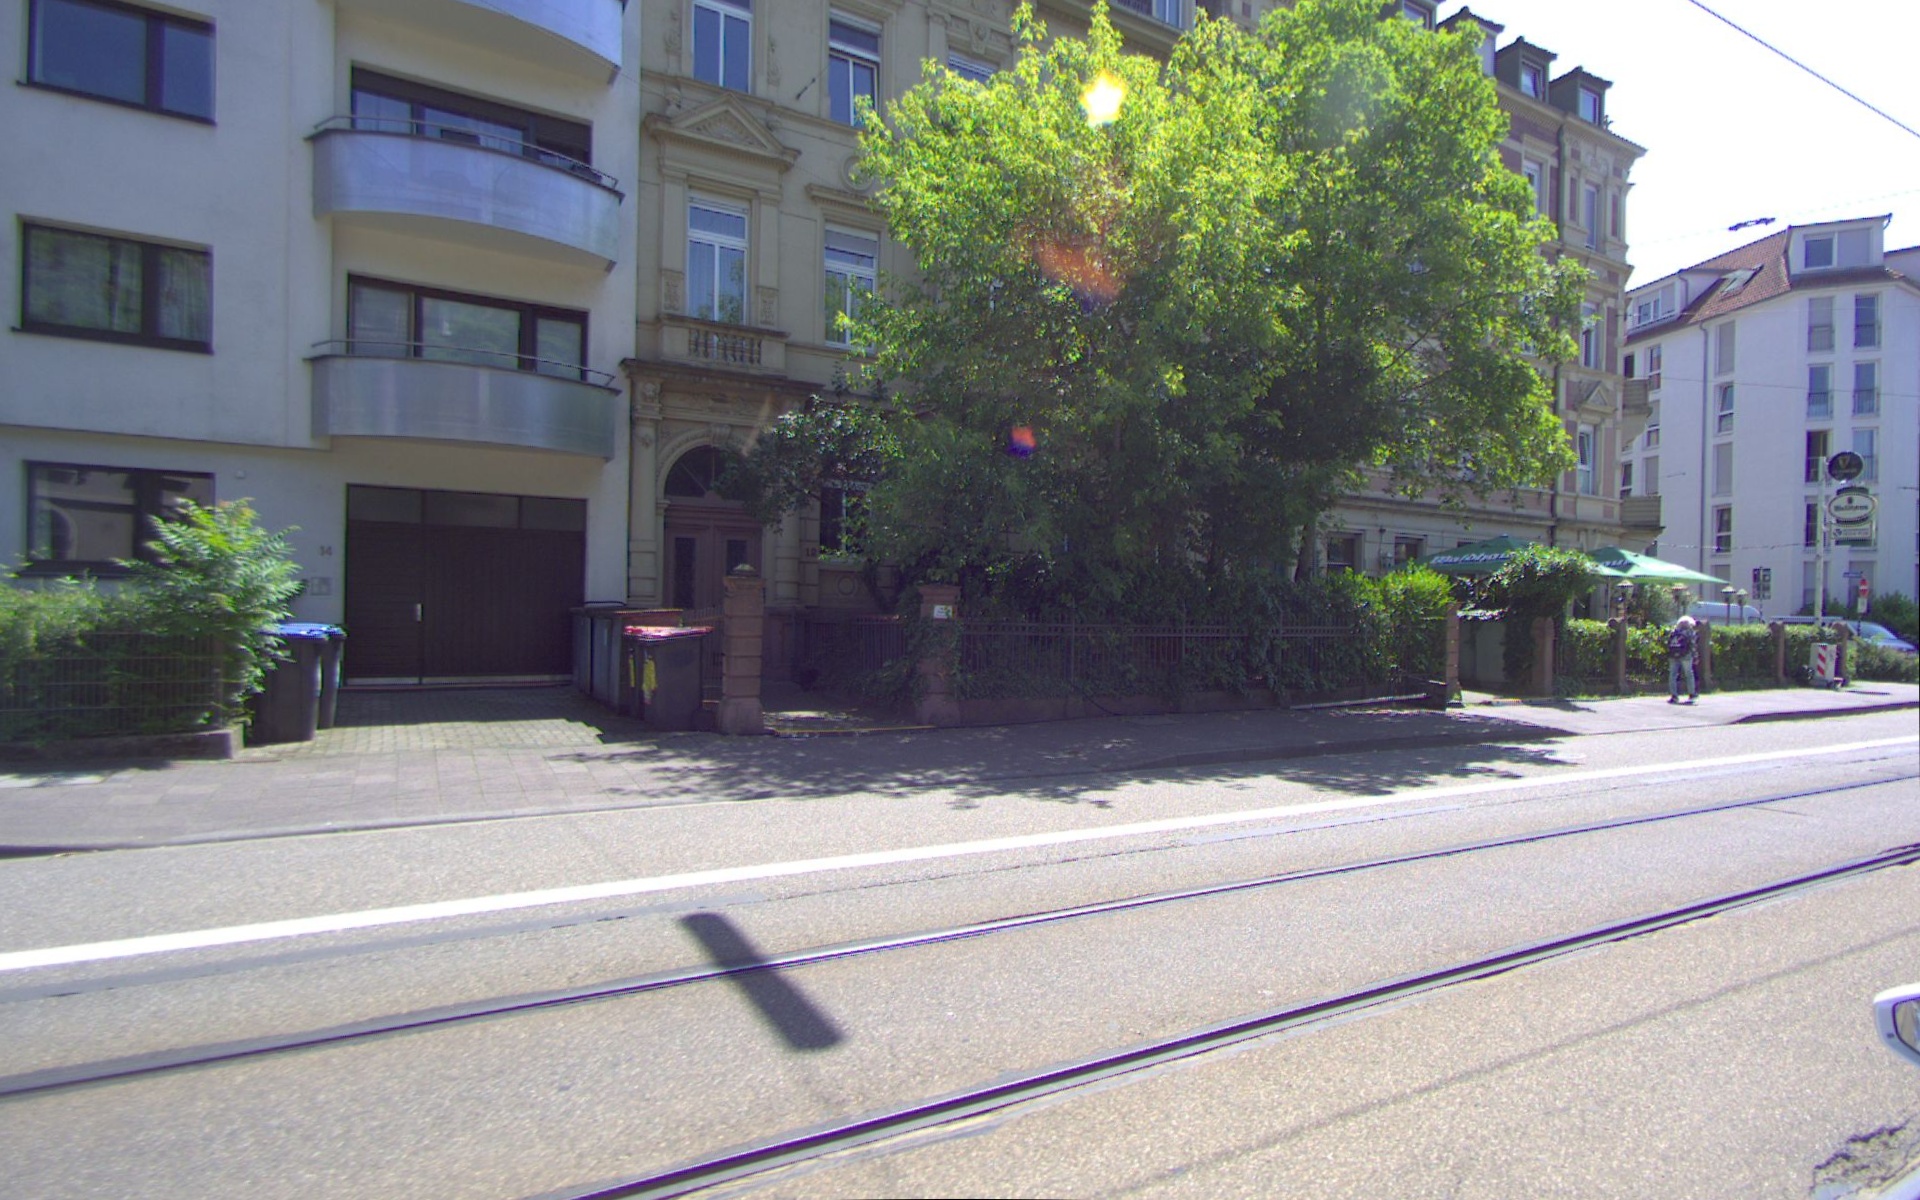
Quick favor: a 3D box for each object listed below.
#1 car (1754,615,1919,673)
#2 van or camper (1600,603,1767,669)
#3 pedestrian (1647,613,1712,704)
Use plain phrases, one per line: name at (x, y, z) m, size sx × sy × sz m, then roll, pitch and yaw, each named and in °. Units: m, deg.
car at (32.405, 1.572, 37.170) m, size 1.965 × 1.929 × 4.485 m, roll 1°, pitch -1°, yaw -13°
van or camper at (24.969, 1.220, 34.710) m, size 4.714 × 2.148 × 1.996 m, roll 1°, pitch 0°, yaw -11°
pedestrian at (13.545, 1.077, 18.916) m, size 0.825 × 1.650 × 0.746 m, roll 1°, pitch 0°, yaw -35°
